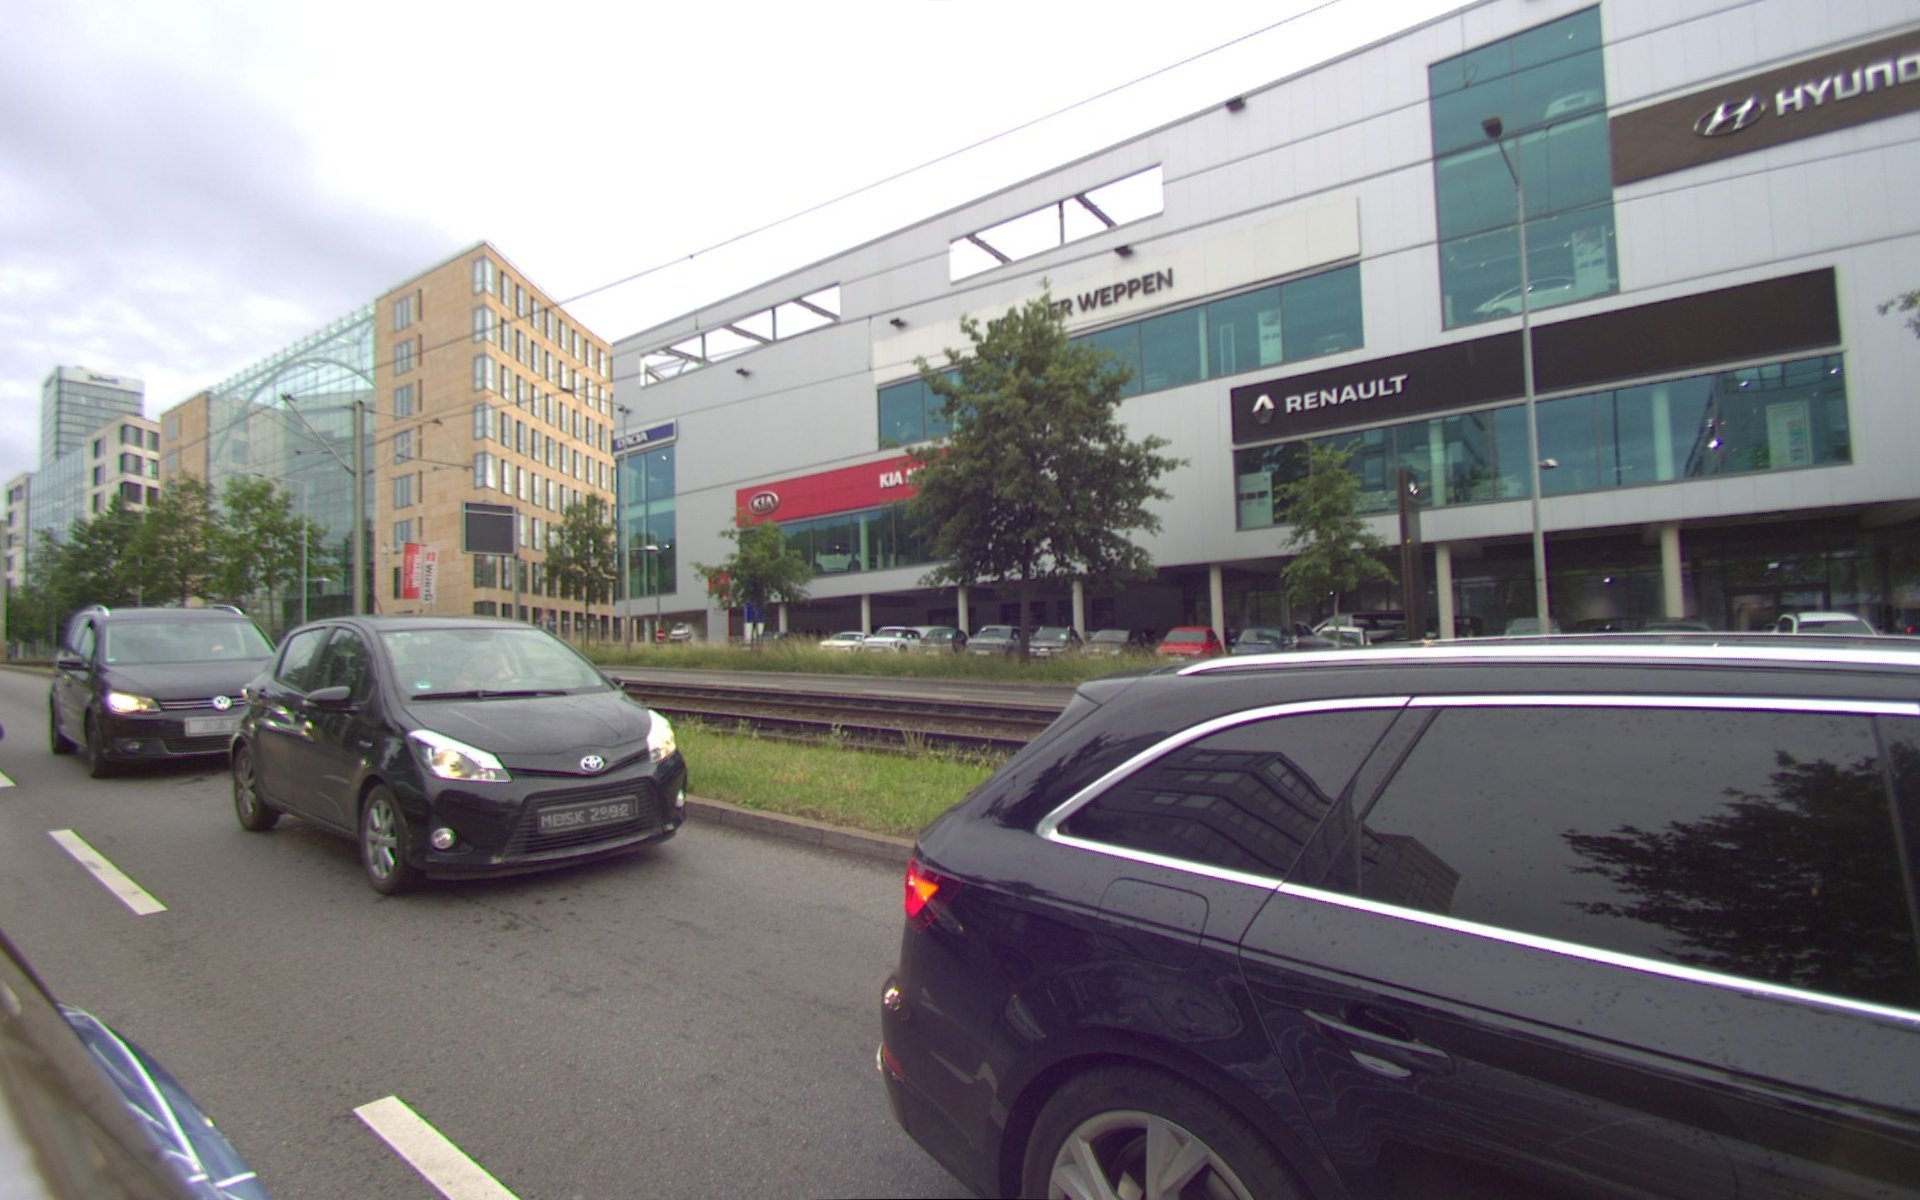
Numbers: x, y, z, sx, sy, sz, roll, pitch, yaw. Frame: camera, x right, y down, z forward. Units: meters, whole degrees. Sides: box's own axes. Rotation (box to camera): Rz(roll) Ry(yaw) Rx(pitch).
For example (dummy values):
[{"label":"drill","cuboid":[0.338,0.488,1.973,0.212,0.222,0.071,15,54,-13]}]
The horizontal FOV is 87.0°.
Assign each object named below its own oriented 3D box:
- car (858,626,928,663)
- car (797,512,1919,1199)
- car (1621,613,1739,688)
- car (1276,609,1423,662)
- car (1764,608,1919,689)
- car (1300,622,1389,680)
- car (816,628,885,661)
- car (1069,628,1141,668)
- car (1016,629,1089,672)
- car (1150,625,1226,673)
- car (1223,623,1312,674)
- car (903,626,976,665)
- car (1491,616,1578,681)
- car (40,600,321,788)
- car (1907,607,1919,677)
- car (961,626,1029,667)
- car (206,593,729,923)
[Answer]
[{"label":"car","cuboid":[-2.783,1.877,42.960,1.685,1.304,3.643,-2,1,18]},{"label":"car","cuboid":[1.899,0.640,1.511,4.511,1.478,1.762,-2,-2,41]},{"label":"car","cuboid":[18.068,1.203,25.582,1.992,1.562,4.331,-1,1,30]},{"label":"car","cuboid":[13.968,1.261,36.495,4.488,1.796,1.997,-1,-1,5]},{"label":"car","cuboid":[20.606,1.057,23.806,1.992,1.562,4.331,-1,1,30]},{"label":"car","cuboid":[11.961,1.523,31.343,1.914,1.470,4.005,-1,1,30]},{"label":"car","cuboid":[-4.774,1.948,44.636,1.685,1.196,3.643,-2,1,18]},{"label":"car","cuboid":[5.257,1.693,36.321,1.688,1.190,3.498,-2,1,24]},{"label":"car","cuboid":[3.509,1.845,37.781,1.688,1.362,3.498,-2,1,24]},{"label":"car","cuboid":[7.824,1.623,34.443,1.789,1.362,3.903,-2,1,24]},{"label":"car","cuboid":[10.087,1.548,33.039,1.914,1.362,4.005,-1,1,30]},{"label":"car","cuboid":[-0.776,1.821,41.029,1.688,1.362,3.499,-2,1,23]},{"label":"car","cuboid":[15.869,1.280,27.968,1.925,1.470,3.981,-1,1,30]},{"label":"car","cuboid":[-8.469,0.853,10.846,4.318,1.619,1.762,-2,-1,44]},{"label":"car","cuboid":[22.831,1.017,22.221,1.992,1.627,4.331,-1,1,30]},{"label":"car","cuboid":[1.418,1.801,39.699,1.686,1.362,3.503,-2,1,20]},{"label":"car","cuboid":[-3.381,0.781,6.637,3.823,1.544,1.683,-1,-1,40]}]
